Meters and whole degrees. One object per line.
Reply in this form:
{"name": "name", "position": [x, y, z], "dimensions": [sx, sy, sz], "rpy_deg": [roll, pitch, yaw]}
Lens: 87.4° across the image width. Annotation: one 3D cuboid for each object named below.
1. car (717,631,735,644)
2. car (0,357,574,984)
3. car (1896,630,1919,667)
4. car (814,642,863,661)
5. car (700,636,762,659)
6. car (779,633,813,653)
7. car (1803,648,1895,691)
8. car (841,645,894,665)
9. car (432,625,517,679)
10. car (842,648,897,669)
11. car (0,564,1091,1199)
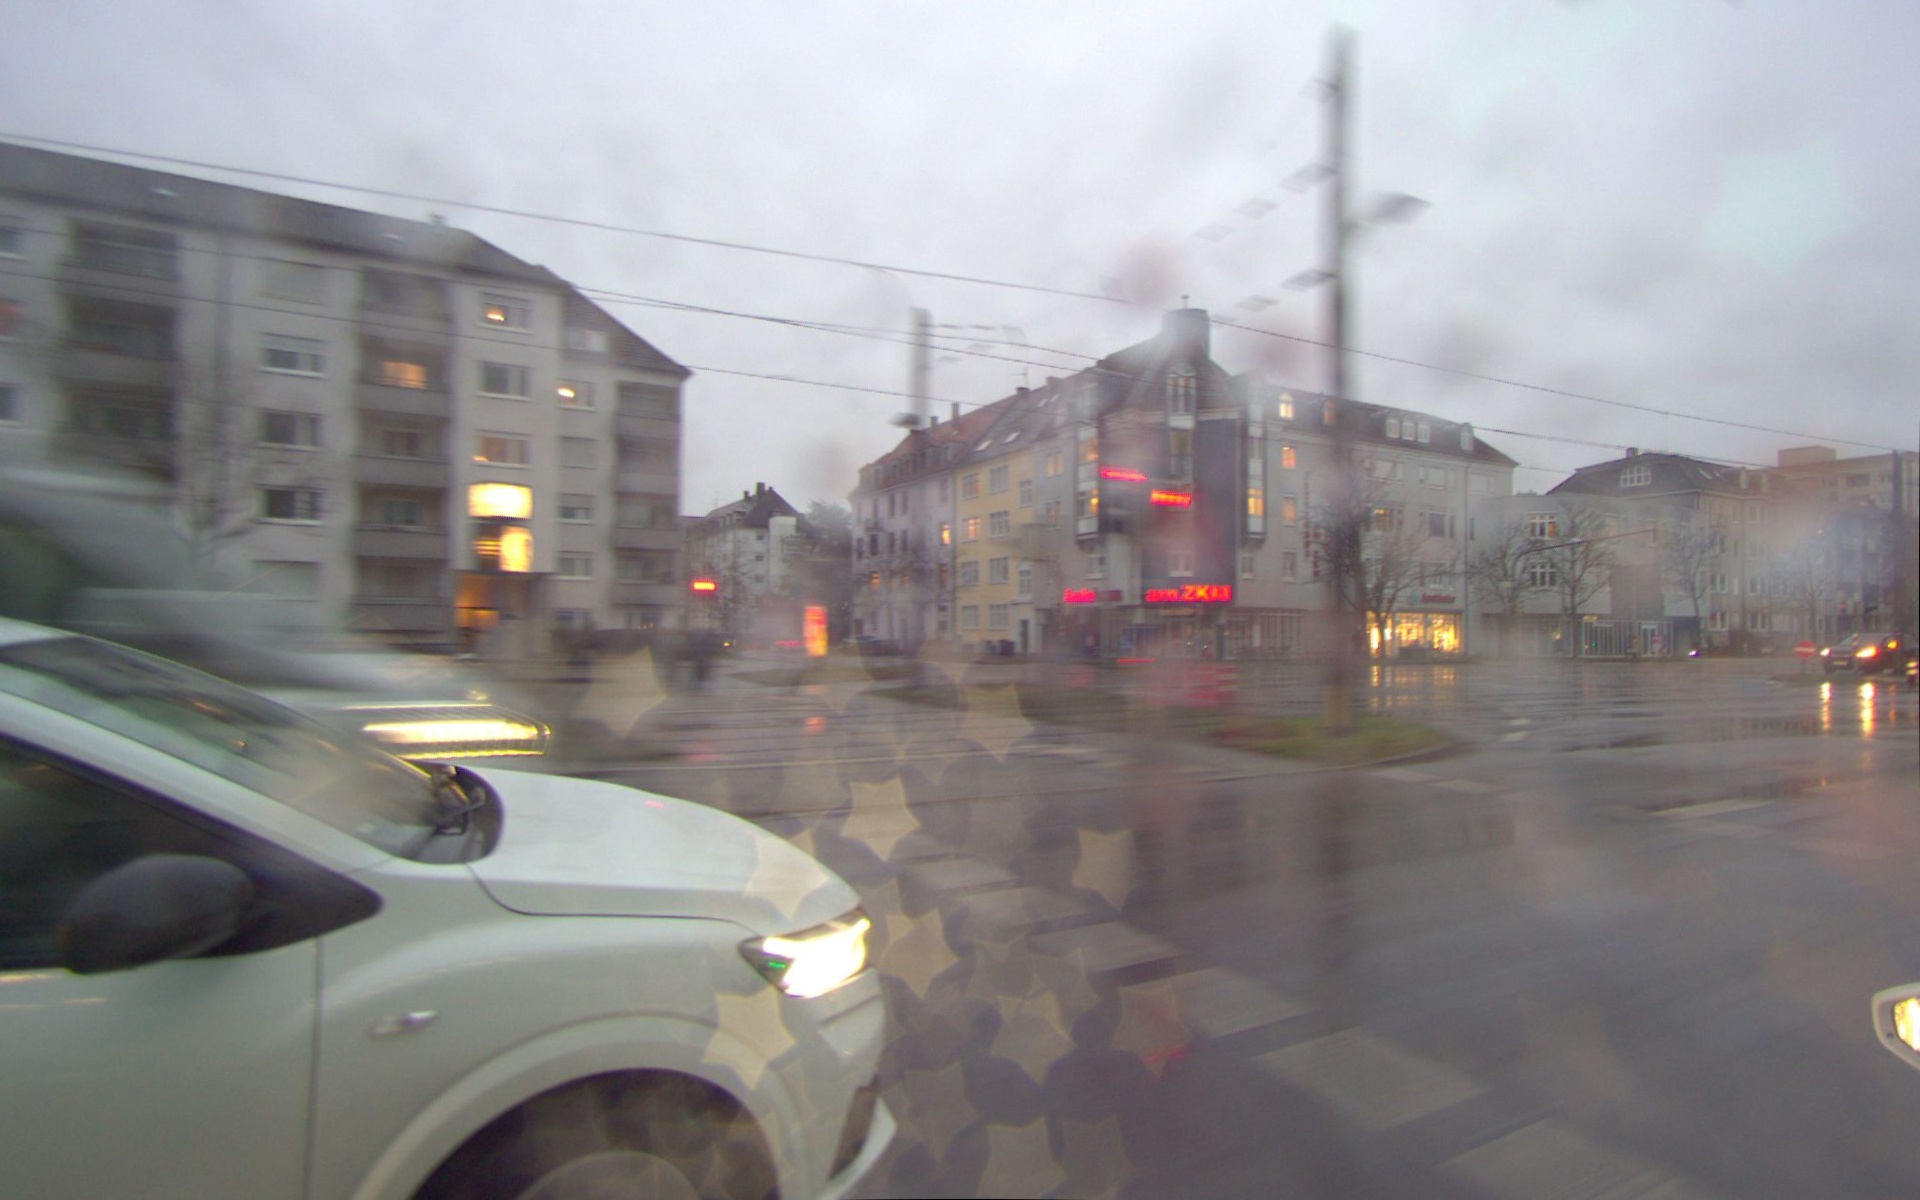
{"name": "car", "position": [-22.987, 3.718, 98.598], "dimensions": [1.153, 1.161, 2.453], "rpy_deg": [2, -1, -26]}
{"name": "car", "position": [-4.183, 0.225, 3.826], "dimensions": [4.825, 2.060, 1.943], "rpy_deg": [2, -1, -30]}
{"name": "car", "position": [42.953, 2.184, 44.027], "dimensions": [4.879, 1.549, 1.579], "rpy_deg": [3, -1, -31]}
{"name": "car", "position": [-9.531, 4.044, 78.890], "dimensions": [3.448, 1.308, 1.589], "rpy_deg": [3, -1, -31]}
{"name": "car", "position": [-14.158, 2.950, 62.184], "dimensions": [3.414, 1.315, 1.576], "rpy_deg": [3, -1, -31]}
{"name": "car", "position": [-12.523, 3.273, 76.729], "dimensions": [1.662, 1.365, 3.513], "rpy_deg": [2, -1, -25]}
{"name": "car", "position": [36.958, 2.883, 41.745], "dimensions": [3.955, 1.628, 1.795], "rpy_deg": [3, -1, -32]}
{"name": "car", "position": [-6.852, 4.063, 74.708], "dimensions": [3.575, 1.360, 1.589], "rpy_deg": [3, -1, -31]}
{"name": "car", "position": [-14.080, 1.467, 29.036], "dimensions": [1.681, 1.384, 3.774], "rpy_deg": [3, -1, -34]}
{"name": "car", "position": [-6.403, 4.120, 71.151], "dimensions": [3.575, 1.360, 1.589], "rpy_deg": [3, -1, -31]}
{"name": "car", "position": [-1.847, 0.689, 1.967], "dimensions": [3.954, 1.485, 1.700], "rpy_deg": [3, -1, -31]}
